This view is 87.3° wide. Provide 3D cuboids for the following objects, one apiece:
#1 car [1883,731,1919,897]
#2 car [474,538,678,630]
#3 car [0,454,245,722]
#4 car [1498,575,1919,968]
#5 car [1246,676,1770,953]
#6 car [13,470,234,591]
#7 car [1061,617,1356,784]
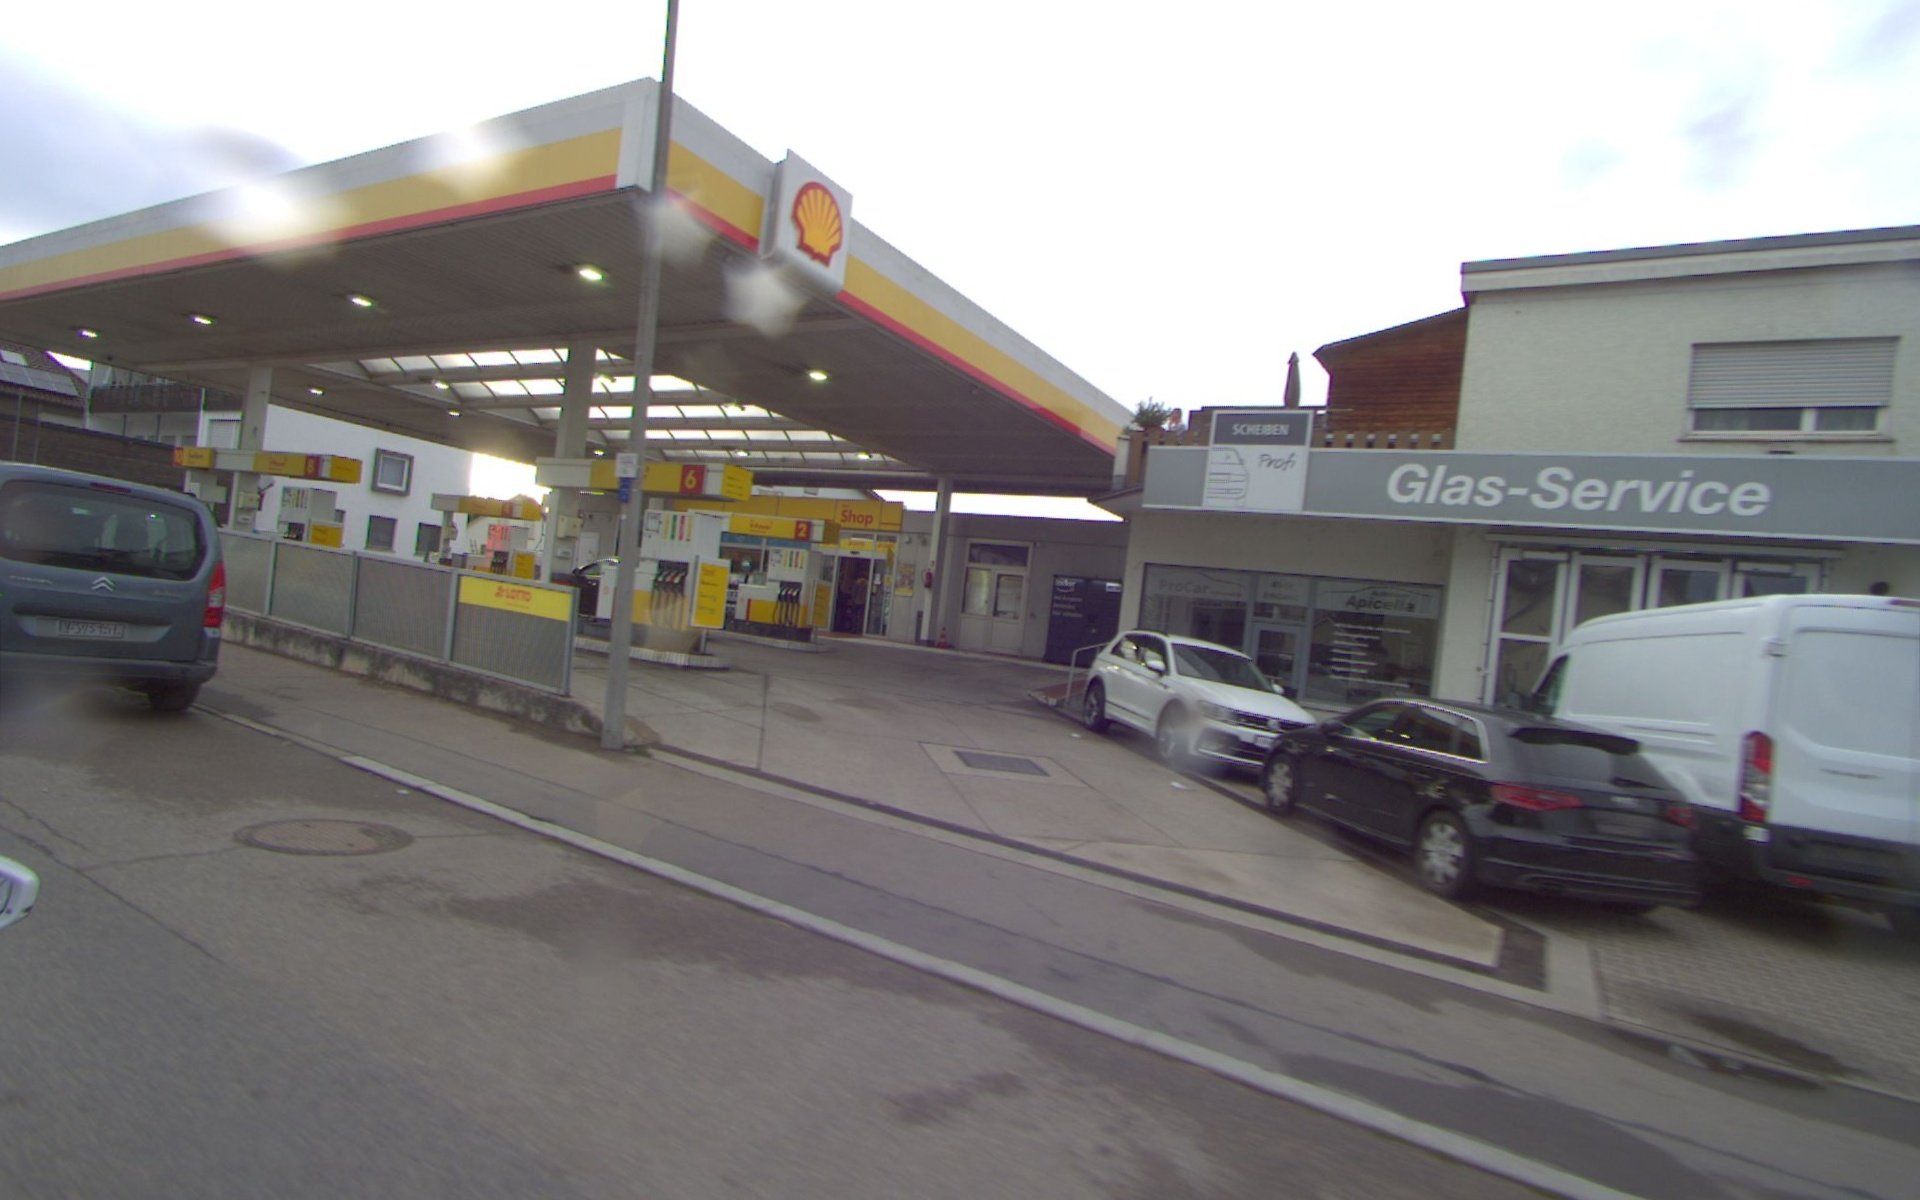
[{"bbox_3d":[9.728,2.107,8.321,1.864,1.592,4.311,7,-1,28],"label":"car"},{"bbox_3d":[-8.710,-0.378,22.704,4.595,1.483,1.743,7,-1,31],"label":"car"},{"bbox_3d":[-8.048,-0.233,8.363,4.370,1.757,1.661,7,-3,31],"label":"car"},{"bbox_3d":[7.113,1.340,9.184,2.205,2.550,4.808,7,-1,10],"label":"car"},{"bbox_3d":[4.226,1.588,8.631,1.750,1.391,3.994,7,-1,-9],"label":"car"},{"bbox_3d":[-15.888,-1.332,19.085,3.931,1.781,1.823,7,0,29],"label":"car"},{"bbox_3d":[3.161,1.237,13.904,1.969,1.660,4.350,8,-1,-15],"label":"car"}]
